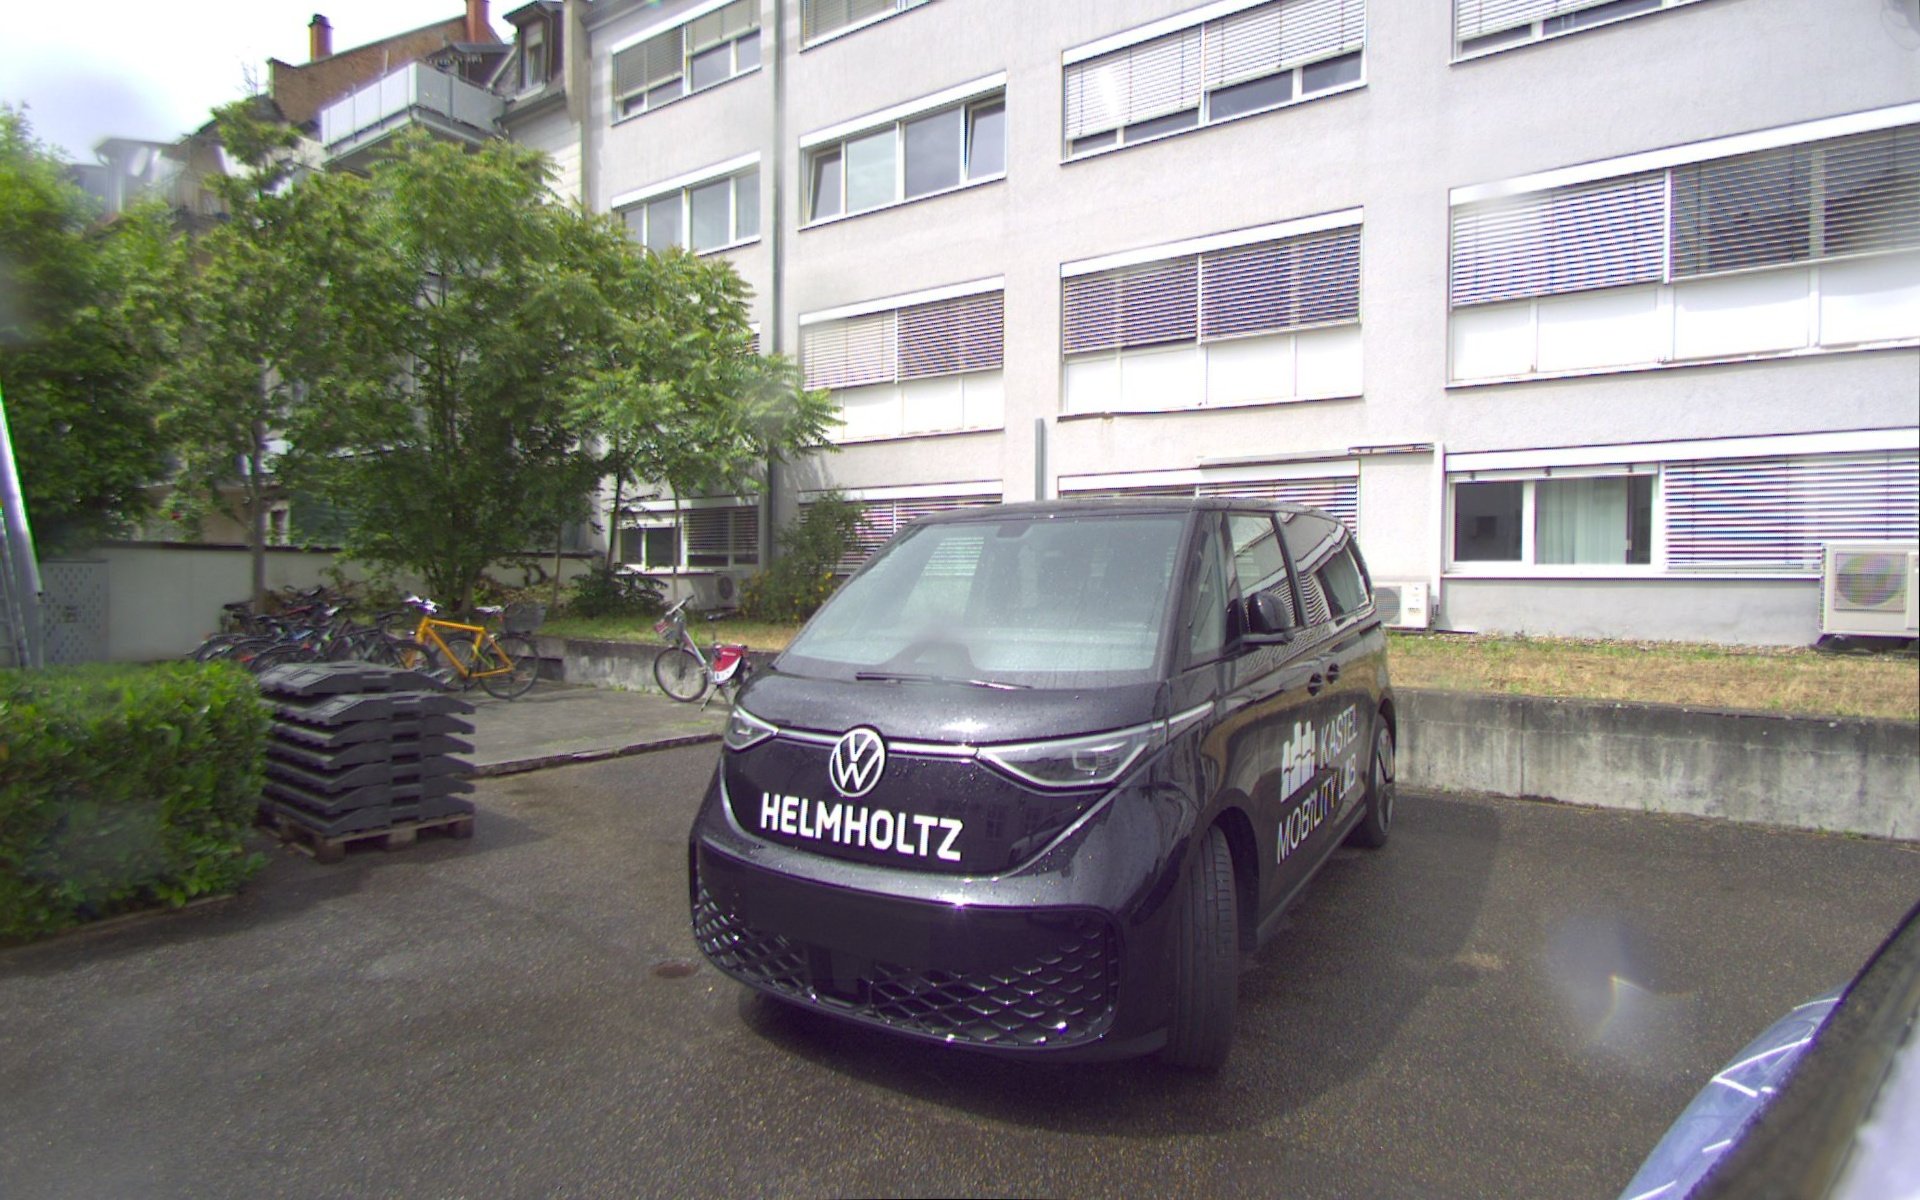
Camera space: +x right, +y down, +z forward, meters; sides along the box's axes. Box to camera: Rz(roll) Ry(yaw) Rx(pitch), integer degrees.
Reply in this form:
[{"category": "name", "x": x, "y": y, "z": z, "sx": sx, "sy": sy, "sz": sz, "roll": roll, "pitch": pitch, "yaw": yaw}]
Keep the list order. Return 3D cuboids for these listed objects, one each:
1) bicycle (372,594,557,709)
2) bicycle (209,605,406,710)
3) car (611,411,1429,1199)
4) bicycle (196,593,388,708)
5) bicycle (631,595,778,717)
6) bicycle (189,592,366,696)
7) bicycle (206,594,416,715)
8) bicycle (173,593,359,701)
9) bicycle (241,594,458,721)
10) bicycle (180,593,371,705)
[{"category": "bicycle", "x": -5.238, "y": 0.502, "z": 10.799, "sx": 0.365, "sy": 1.117, "sz": 1.770, "roll": 2, "pitch": 2, "yaw": 41}, {"category": "bicycle", "x": -6.844, "y": 0.568, "z": 10.709, "sx": 0.327, "sy": 0.979, "sz": 1.775, "roll": 2, "pitch": 1, "yaw": 33}, {"category": "car", "x": 0.886, "y": 0.415, "z": 4.896, "sx": 1.956, "sy": 1.888, "sz": 4.695, "roll": 1, "pitch": 2, "yaw": 32}, {"category": "bicycle", "x": -7.132, "y": 0.496, "z": 10.890, "sx": 0.330, "sy": 1.117, "sz": 1.735, "roll": 2, "pitch": 1, "yaw": 33}, {"category": "bicycle", "x": -2.668, "y": 0.535, "z": 10.470, "sx": 1.786, "sy": 1.117, "sz": 0.441, "roll": 2, "pitch": 4, "yaw": 38}, {"category": "bicycle", "x": -8.024, "y": 0.478, "z": 11.977, "sx": 0.352, "sy": 1.117, "sz": 1.735, "roll": 2, "pitch": 1, "yaw": 33}, {"category": "bicycle", "x": -6.549, "y": 0.505, "z": 10.299, "sx": 0.353, "sy": 1.117, "sz": 1.770, "roll": 2, "pitch": 2, "yaw": 41}, {"category": "bicycle", "x": -7.775, "y": 0.487, "z": 11.422, "sx": 0.343, "sy": 1.117, "sz": 1.735, "roll": 2, "pitch": 1, "yaw": 33}, {"category": "bicycle", "x": -5.886, "y": 0.513, "z": 9.843, "sx": 0.404, "sy": 1.117, "sz": 1.770, "roll": 2, "pitch": 2, "yaw": 41}, {"category": "bicycle", "x": -7.437, "y": 0.494, "z": 11.079, "sx": 0.340, "sy": 1.117, "sz": 1.735, "roll": 2, "pitch": 1, "yaw": 33}]
